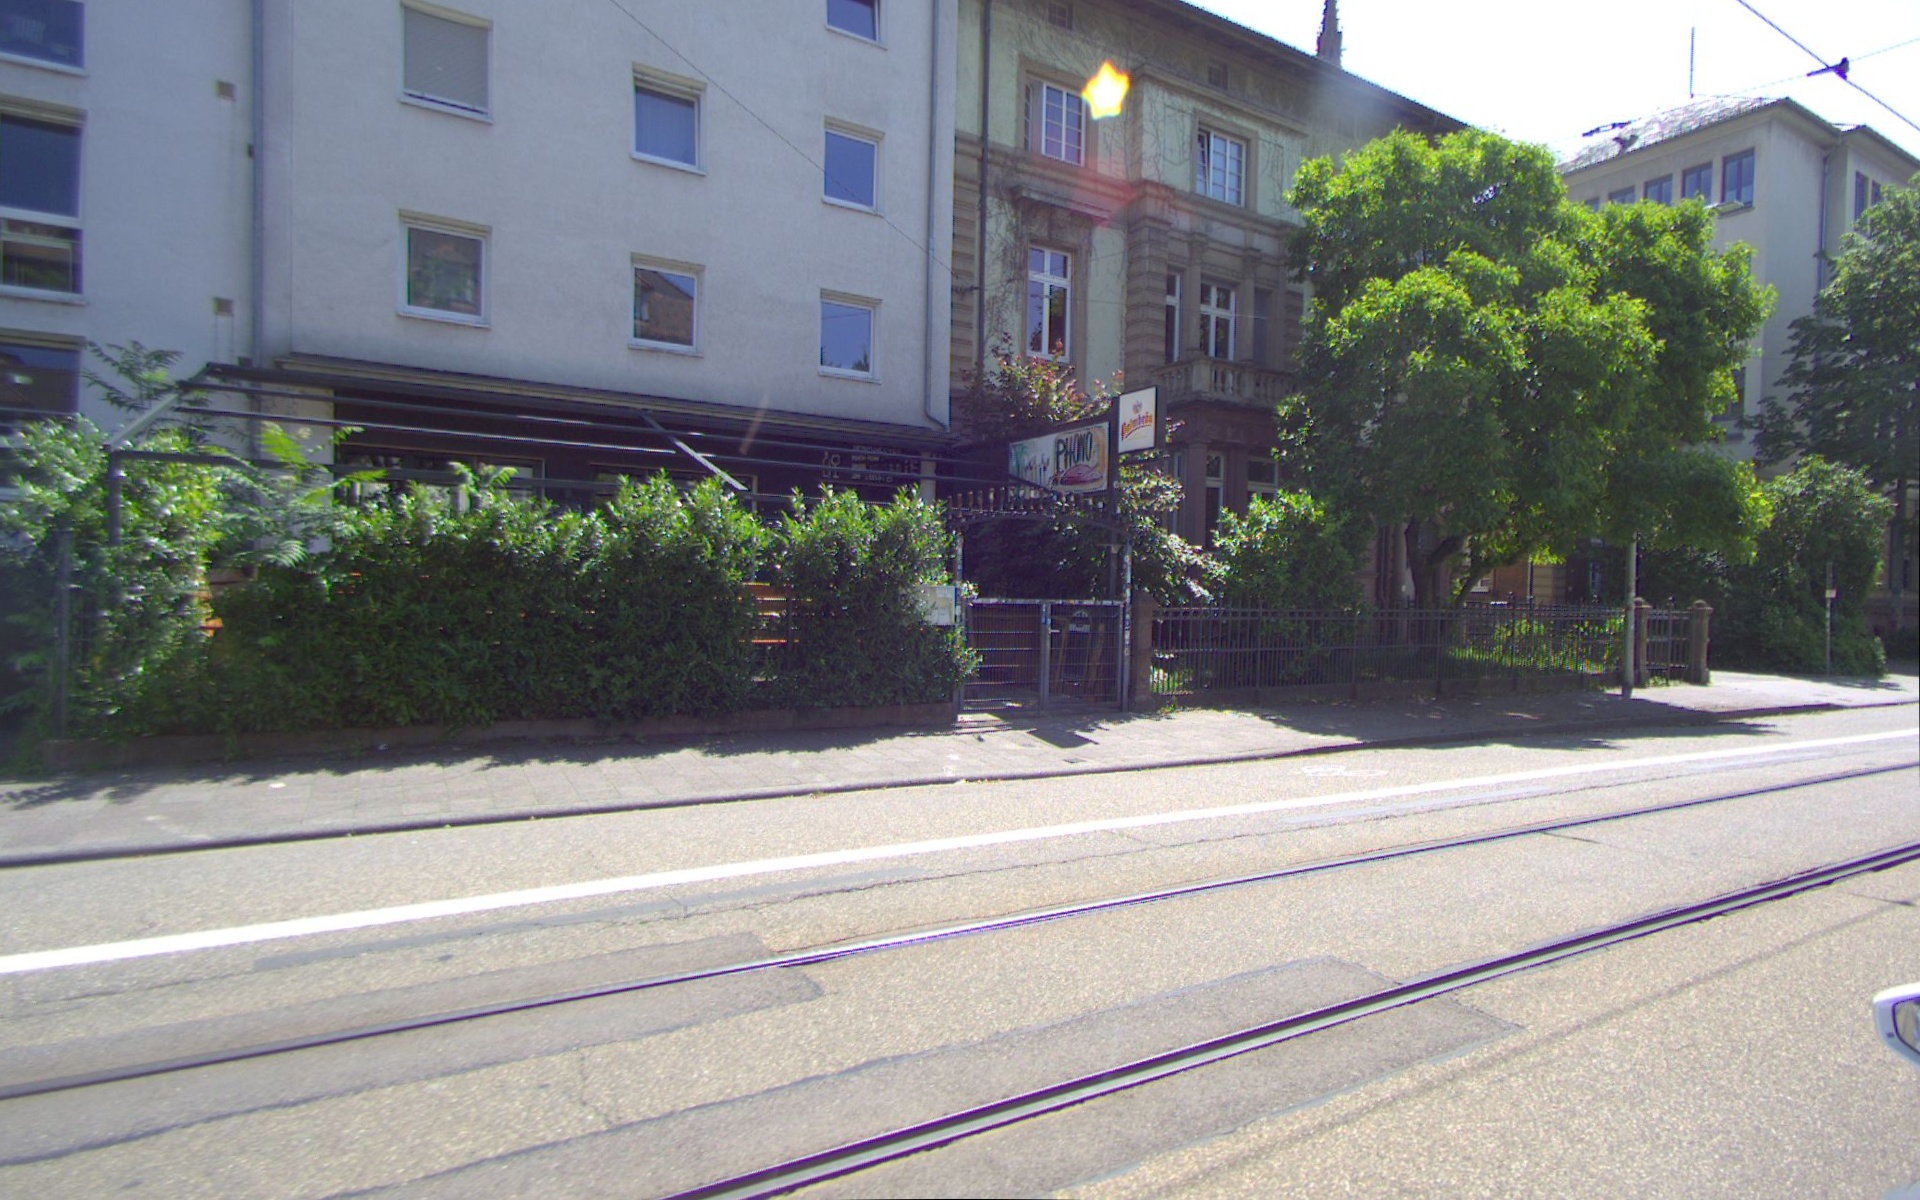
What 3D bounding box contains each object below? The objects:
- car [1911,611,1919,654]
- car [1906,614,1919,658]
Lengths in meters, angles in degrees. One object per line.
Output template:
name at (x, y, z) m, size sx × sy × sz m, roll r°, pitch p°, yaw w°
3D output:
car at (37.726, 1.298, 36.524) m, size 4.246 × 1.606 × 1.665 m, roll 3°, pitch 2°, yaw 31°
car at (35.295, 1.336, 34.852) m, size 3.297 × 1.536 × 1.664 m, roll 3°, pitch 1°, yaw 35°
